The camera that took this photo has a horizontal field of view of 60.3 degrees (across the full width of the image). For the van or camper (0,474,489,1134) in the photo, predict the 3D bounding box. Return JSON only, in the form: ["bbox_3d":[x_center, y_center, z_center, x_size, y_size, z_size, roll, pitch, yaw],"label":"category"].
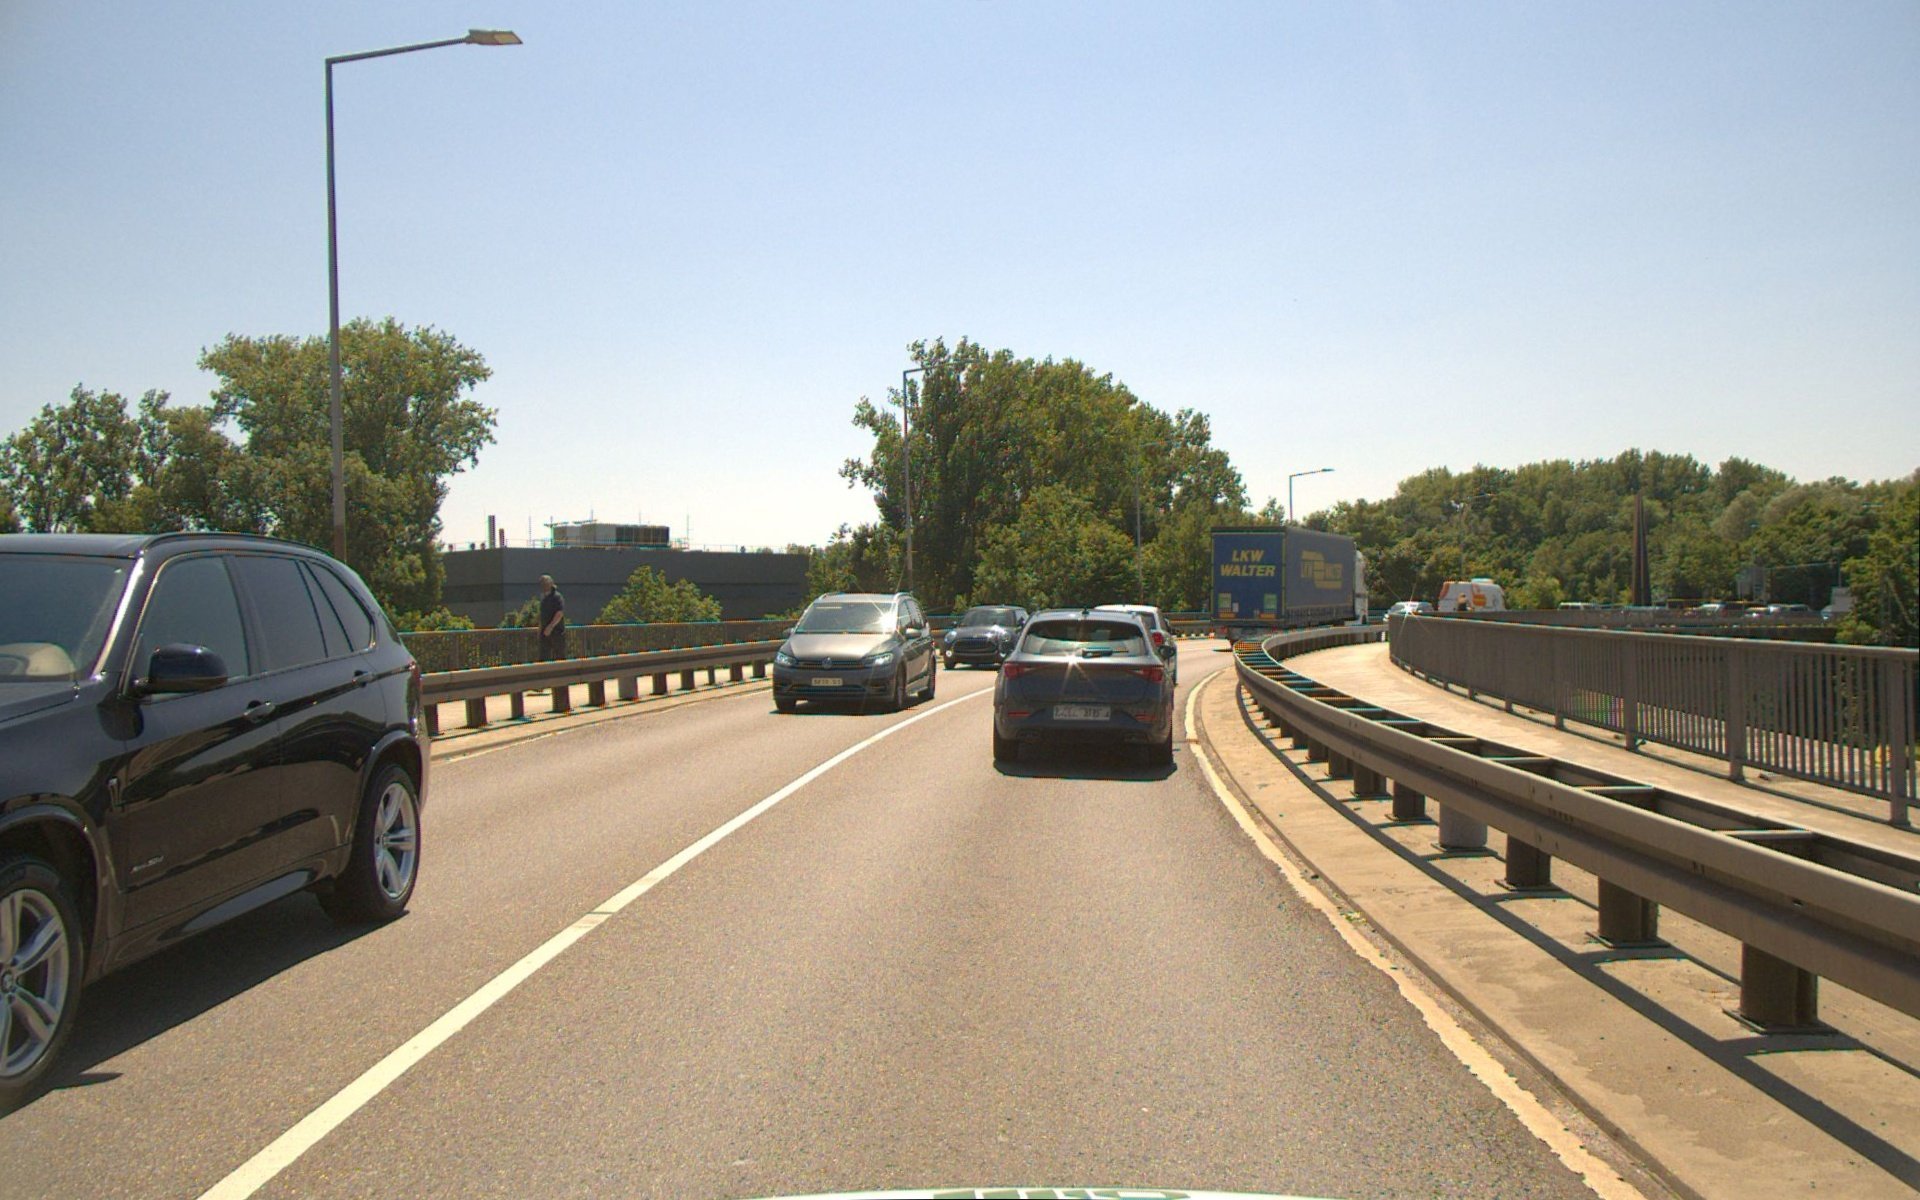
[{"bbox_3d":[-3.528,0.582,6.304,1.952,1.791,4.699,-1,-1,2],"label":"van or camper"}]

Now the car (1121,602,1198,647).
[{"bbox_3d":[6.795,0.811,56.046,1.752,1.444,3.774,-2,-1,20],"label":"car"}]

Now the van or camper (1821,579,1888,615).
[{"bbox_3d":[71.632,-0.251,132.455,4.894,2.331,2.468,5,2,-31],"label":"van or camper"}]

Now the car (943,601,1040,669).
[{"bbox_3d":[0.776,0.776,38.159,1.751,1.444,3.776,-2,-1,8],"label":"car"}]

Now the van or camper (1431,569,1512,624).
[{"bbox_3d":[26.764,-0.219,86.420,2.167,2.758,5.900,0,0,37],"label":"van or camper"}]

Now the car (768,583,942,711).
[{"bbox_3d":[-1.419,0.660,24.068,1.855,1.683,4.260,-1,-1,5],"label":"car"}]

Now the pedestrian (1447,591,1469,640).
[{"bbox_3d":[20.404,0.638,67.768,0.723,2.002,0.733,0,-1,28],"label":"pedestrian"}]

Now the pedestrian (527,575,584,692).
[{"bbox_3d":[-6.389,0.524,26.138,0.624,1.814,0.812,1,-1,5],"label":"pedestrian"}]

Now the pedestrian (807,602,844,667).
[{"bbox_3d":[-3.338,0.856,41.077,0.699,1.589,0.695,-2,-1,14],"label":"pedestrian"}]

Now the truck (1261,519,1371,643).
[{"bbox_3d":[14.341,-0.691,66.176,3.105,4.665,7.396,0,-1,22],"label":"truck"}]

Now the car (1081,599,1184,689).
[{"bbox_3d":[3.167,0.750,29.813,1.559,1.486,3.548,1,0,10],"label":"car"}]

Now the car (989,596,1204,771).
[{"bbox_3d":[1.242,0.738,16.553,1.808,1.525,3.757,0,0,-1],"label":"car"}]

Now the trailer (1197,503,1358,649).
[{"bbox_3d":[11.784,-0.752,60.013,3.070,4.695,12.944,1,0,23],"label":"trailer"}]

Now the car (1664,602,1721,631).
[{"bbox_3d":[49.561,1.103,111.888,3.958,1.882,1.870,1,-1,-38],"label":"car"}]

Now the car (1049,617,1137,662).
[{"bbox_3d":[4.569,1.319,56.253,1.752,1.440,4.575,-1,-1,21],"label":"car"}]

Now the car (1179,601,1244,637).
[{"bbox_3d":[11.146,0.841,73.132,1.692,1.509,3.861,-2,-1,27],"label":"car"}]
